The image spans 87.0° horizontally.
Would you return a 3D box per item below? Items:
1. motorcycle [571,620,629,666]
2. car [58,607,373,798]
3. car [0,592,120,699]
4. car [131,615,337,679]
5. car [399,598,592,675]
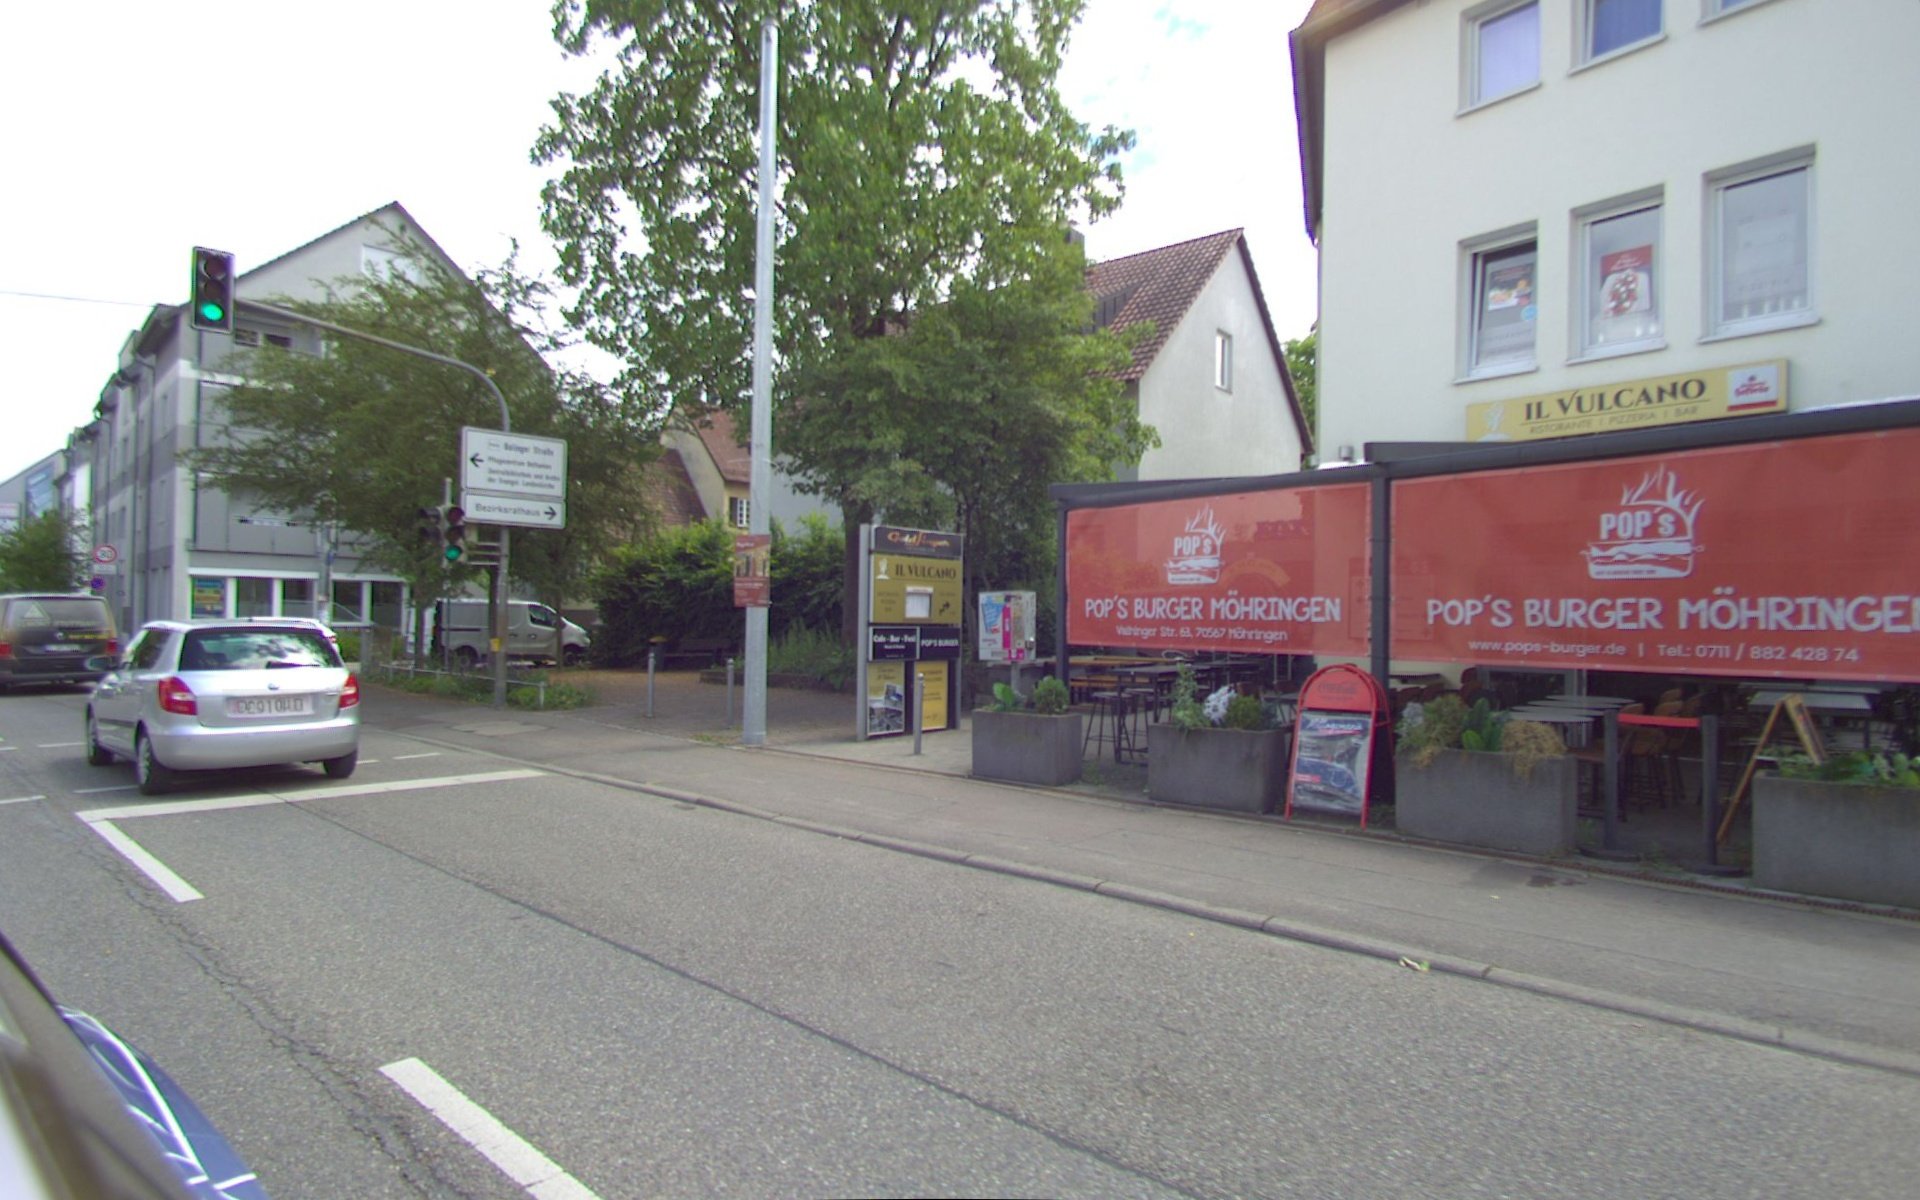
[{"bbox_3d":[-11.107,1.288,31.182,2.136,1.343,0.832,0,-1,45],"label":"motorcycle"},{"bbox_3d":[-7.294,0.836,9.794,3.810,1.497,1.601,-1,-1,40],"label":"car"},{"bbox_3d":[-18.628,0.848,20.384,4.748,1.927,1.858,-1,-1,41],"label":"car"},{"bbox_3d":[-19.176,1.205,26.857,1.821,1.525,4.167,-2,-2,41],"label":"car"},{"bbox_3d":[-13.126,0.975,28.810,2.093,2.024,4.575,-1,-1,39],"label":"car"}]
